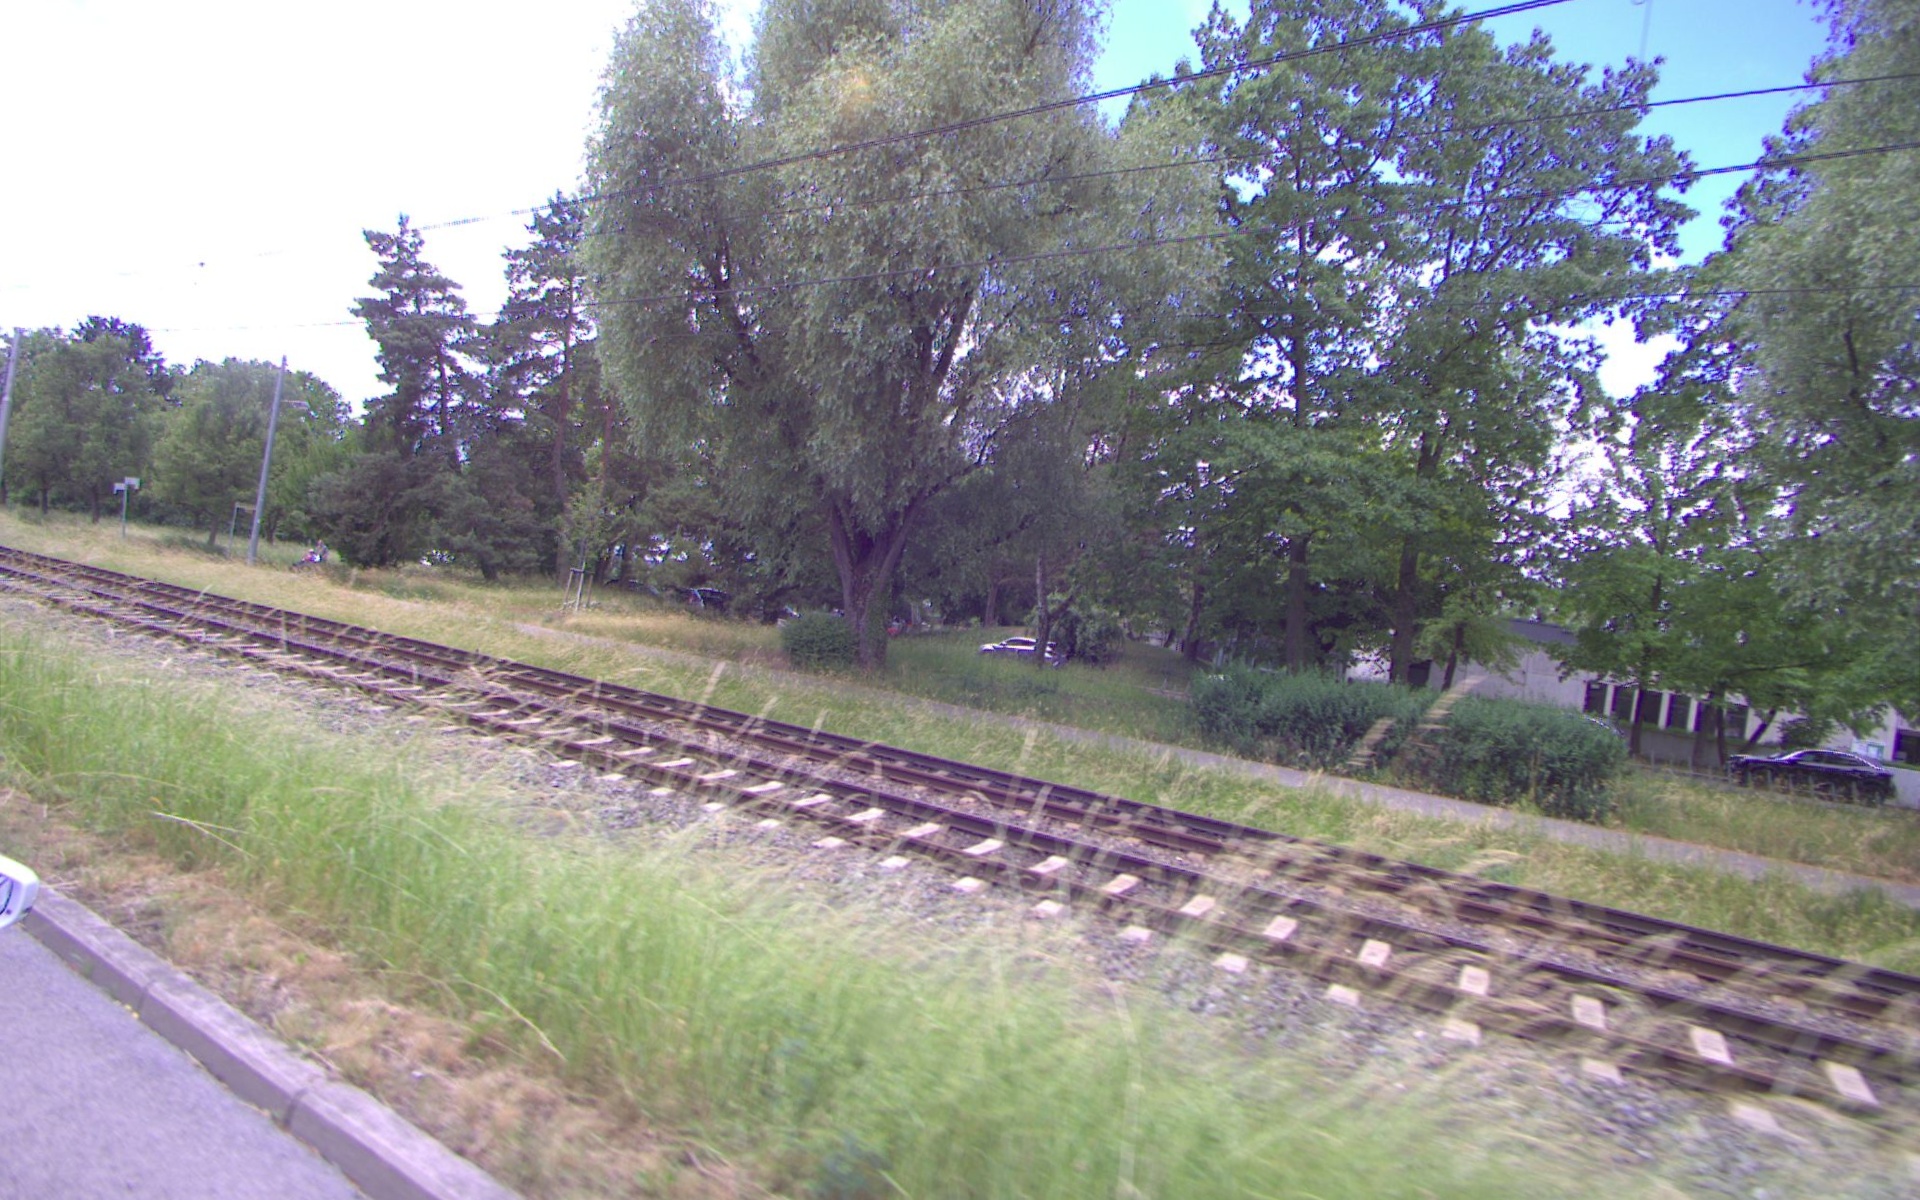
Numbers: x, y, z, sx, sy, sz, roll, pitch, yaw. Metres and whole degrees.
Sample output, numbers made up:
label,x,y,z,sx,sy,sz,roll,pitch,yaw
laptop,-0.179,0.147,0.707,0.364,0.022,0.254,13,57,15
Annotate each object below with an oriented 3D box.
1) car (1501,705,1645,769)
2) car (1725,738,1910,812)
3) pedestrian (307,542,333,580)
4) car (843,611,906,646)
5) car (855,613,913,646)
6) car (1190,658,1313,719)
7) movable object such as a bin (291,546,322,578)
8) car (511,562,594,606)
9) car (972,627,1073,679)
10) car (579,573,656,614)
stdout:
label,x,y,z,sx,sy,sz,roll,pitch,yaw
car,20.792,4.629,34.270,3.934,1.459,1.998,7,-2,32
car,26.238,5.318,30.989,3.934,1.459,1.998,7,-2,32
pedestrian,-30.171,-1.816,47.437,0.648,1.686,0.955,8,-1,-18
car,-5.810,1.976,68.622,3.744,1.753,1.833,8,-2,6
car,-5.559,2.171,73.394,3.744,1.753,1.833,8,-2,6
car,11.599,3.532,40.118,4.159,1.718,1.999,7,-3,32
movable object such as a bin,-29.911,-1.742,46.066,0.650,1.325,1.637,8,-2,-17
car,-22.843,-0.885,56.430,3.925,1.824,1.751,8,-2,19
car,2.807,2.389,45.585,3.936,1.718,1.998,7,-3,34
car,-20.588,-0.401,60.509,3.925,1.824,1.751,8,-2,19
